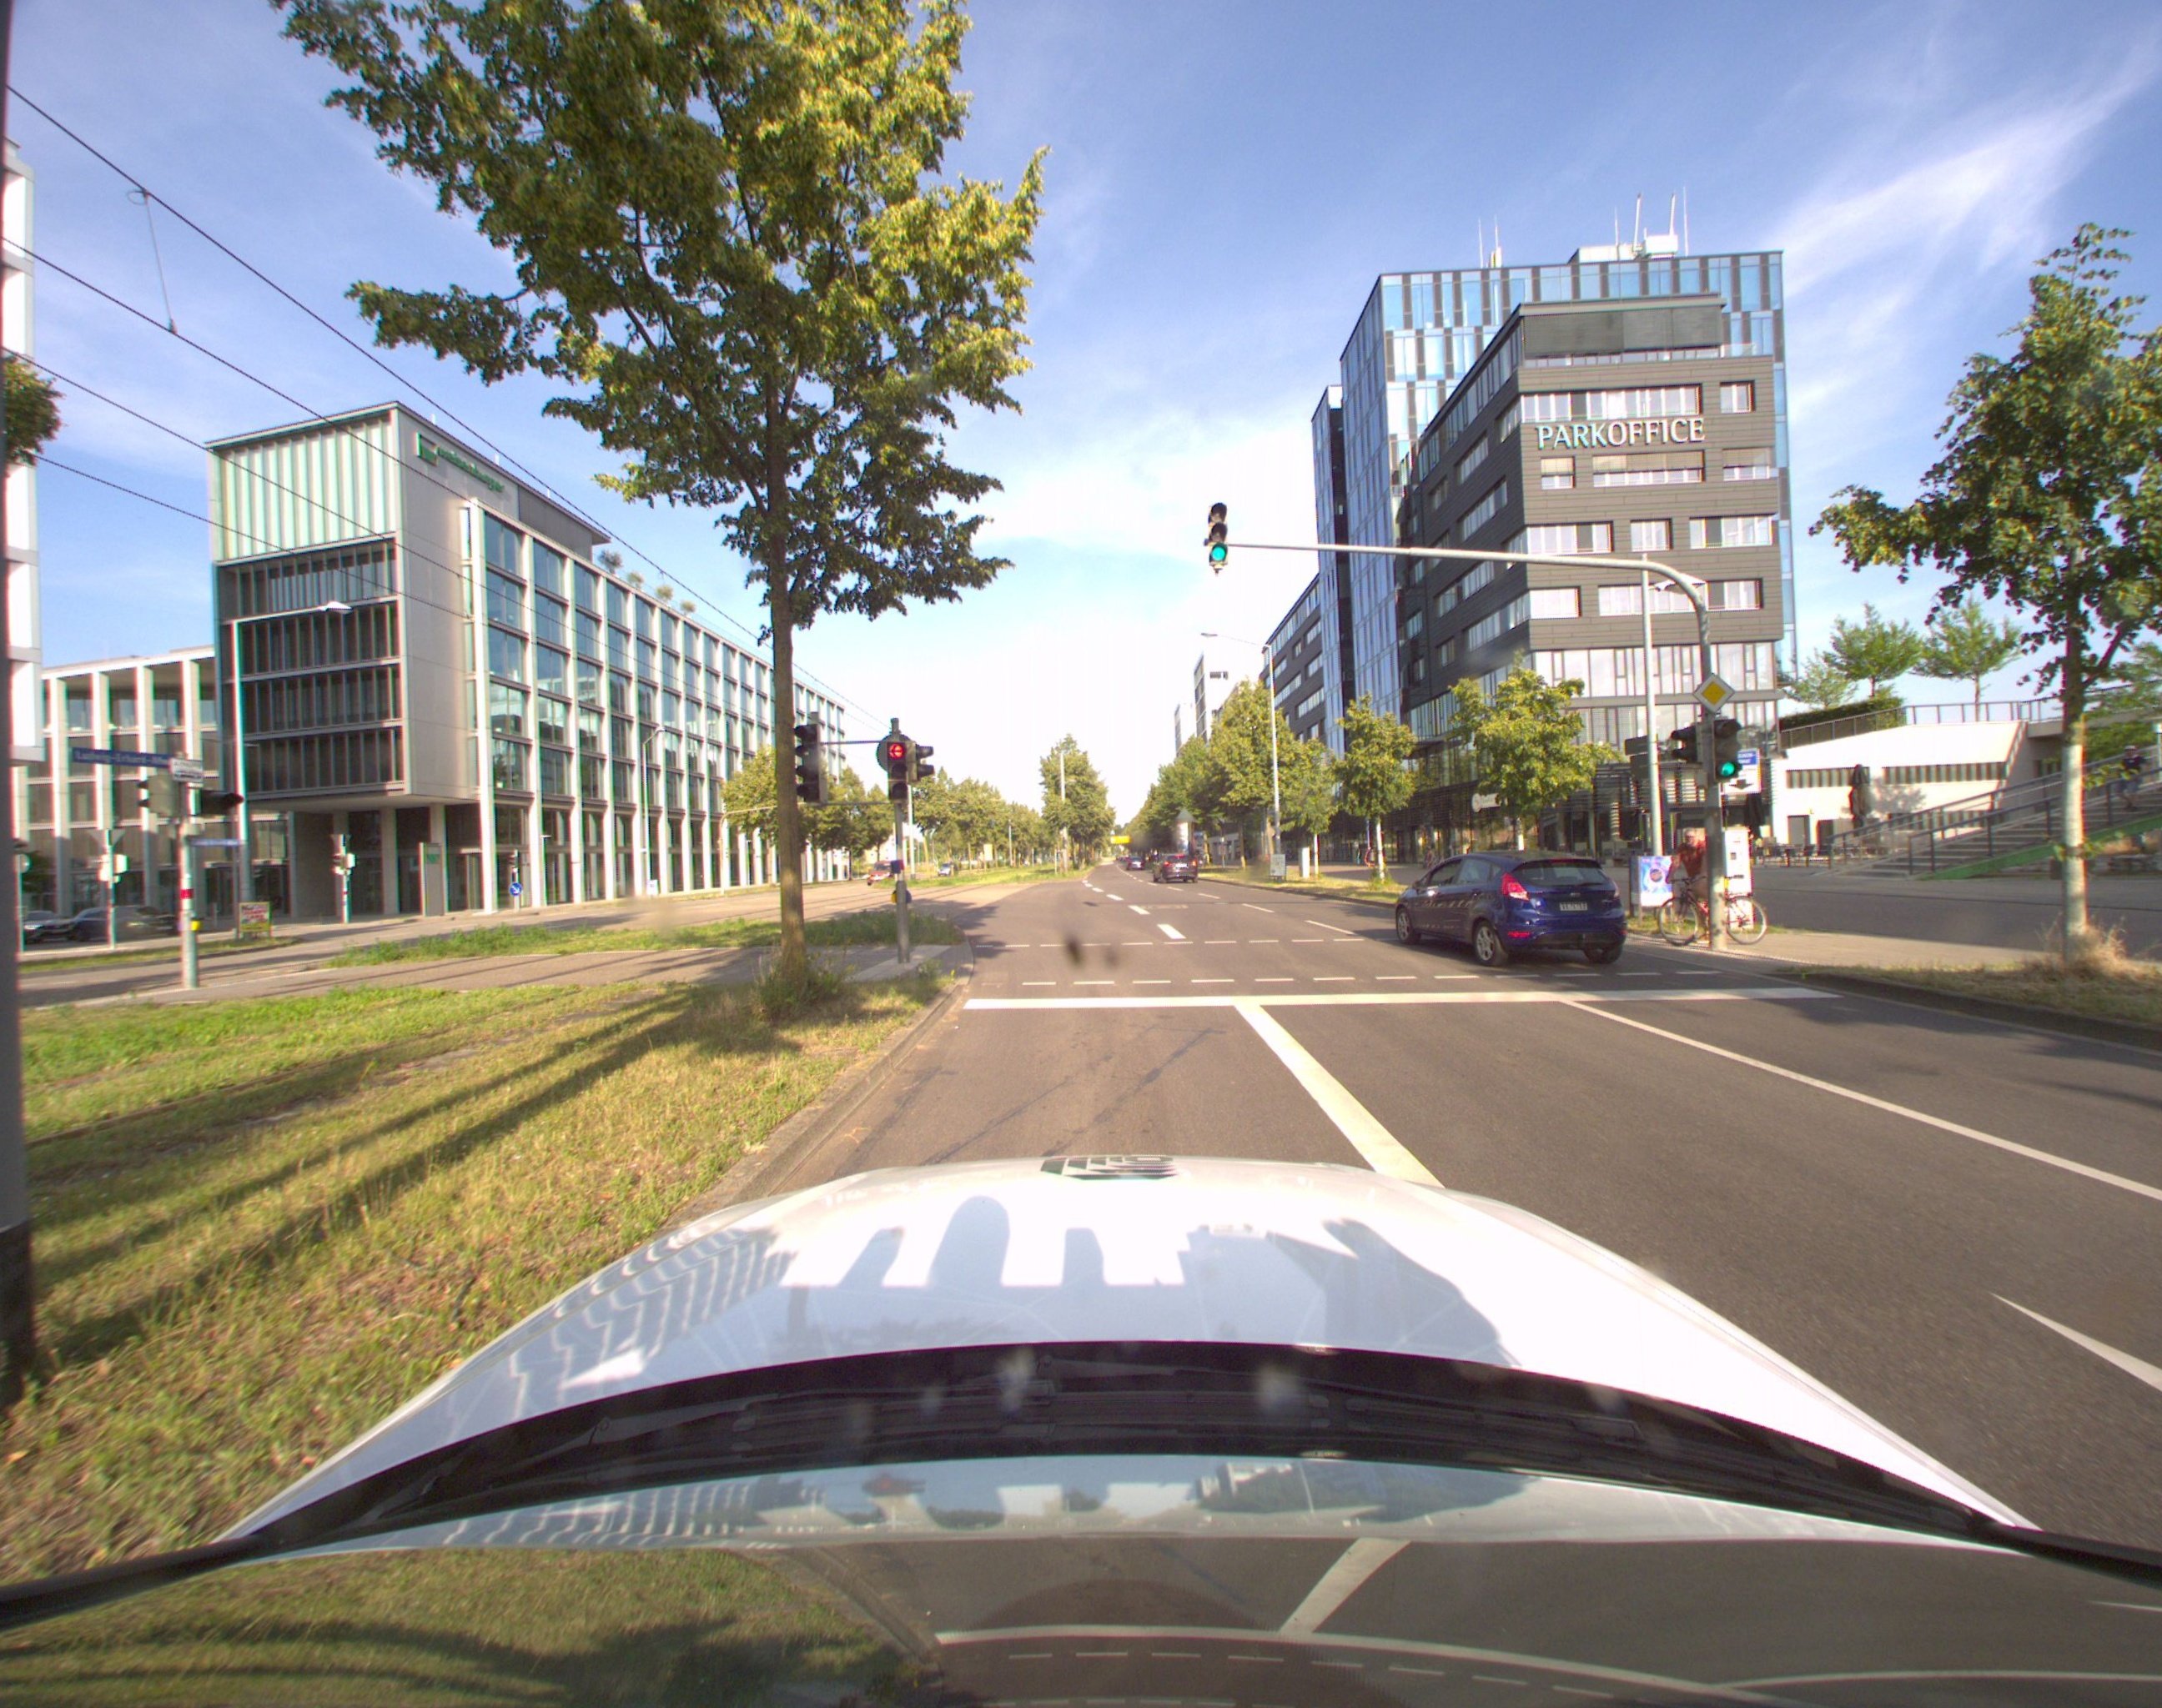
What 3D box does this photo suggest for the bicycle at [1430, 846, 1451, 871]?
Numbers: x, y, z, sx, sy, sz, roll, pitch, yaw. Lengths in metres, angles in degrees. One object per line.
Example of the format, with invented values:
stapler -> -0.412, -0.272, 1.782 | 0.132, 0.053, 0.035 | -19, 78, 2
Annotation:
bicycle -> 19.909, 0.256, 45.141 | 0.371, 1.346, 1.895 | -1, -1, 2

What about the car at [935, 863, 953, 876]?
car -> -16.431, 1.829, 97.677 | 1.634, 1.443, 3.953 | -1, -1, -2

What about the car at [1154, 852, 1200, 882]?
car -> 4.733, 0.620, 40.614 | 1.769, 1.424, 3.959 | -1, -1, -1

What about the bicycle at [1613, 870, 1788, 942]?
bicycle -> 9.048, 0.749, 11.930 | 2.127, 1.013, 0.571 | -1, -1, -1

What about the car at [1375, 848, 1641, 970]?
car -> 5.778, 0.635, 11.606 | 1.557, 1.424, 3.902 | -1, 0, -4

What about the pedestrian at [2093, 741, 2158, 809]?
pedestrian -> 27.382, -2.062, 21.365 | 0.688, 1.692, 0.790 | -1, -1, 15

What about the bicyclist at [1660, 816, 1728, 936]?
bicyclist -> 8.970, 0.320, 11.935 | 0.573, 1.707, 0.541 | -1, -1, 0

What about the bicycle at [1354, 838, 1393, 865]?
bicycle -> 21.249, -0.175, 59.202 | 2.548, 1.857, 0.571 | -1, -1, 11

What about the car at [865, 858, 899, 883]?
car -> -14.681, 1.220, 60.242 | 1.679, 1.775, 3.879 | -1, -1, -2

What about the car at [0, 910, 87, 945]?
car -> -47.704, 3.326, 37.186 | 3.638, 1.424, 1.582 | -1, -1, 16

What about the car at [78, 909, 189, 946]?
car -> -41.033, 3.156, 35.293 | 3.478, 1.424, 1.580 | -1, -1, 11

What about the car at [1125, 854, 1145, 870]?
car -> 5.504, 0.834, 83.143 | 1.852, 1.524, 3.787 | -1, -1, 2

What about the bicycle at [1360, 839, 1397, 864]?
bicycle -> 21.229, -0.194, 58.131 | 2.419, 1.746, 0.556 | -1, -1, 11
